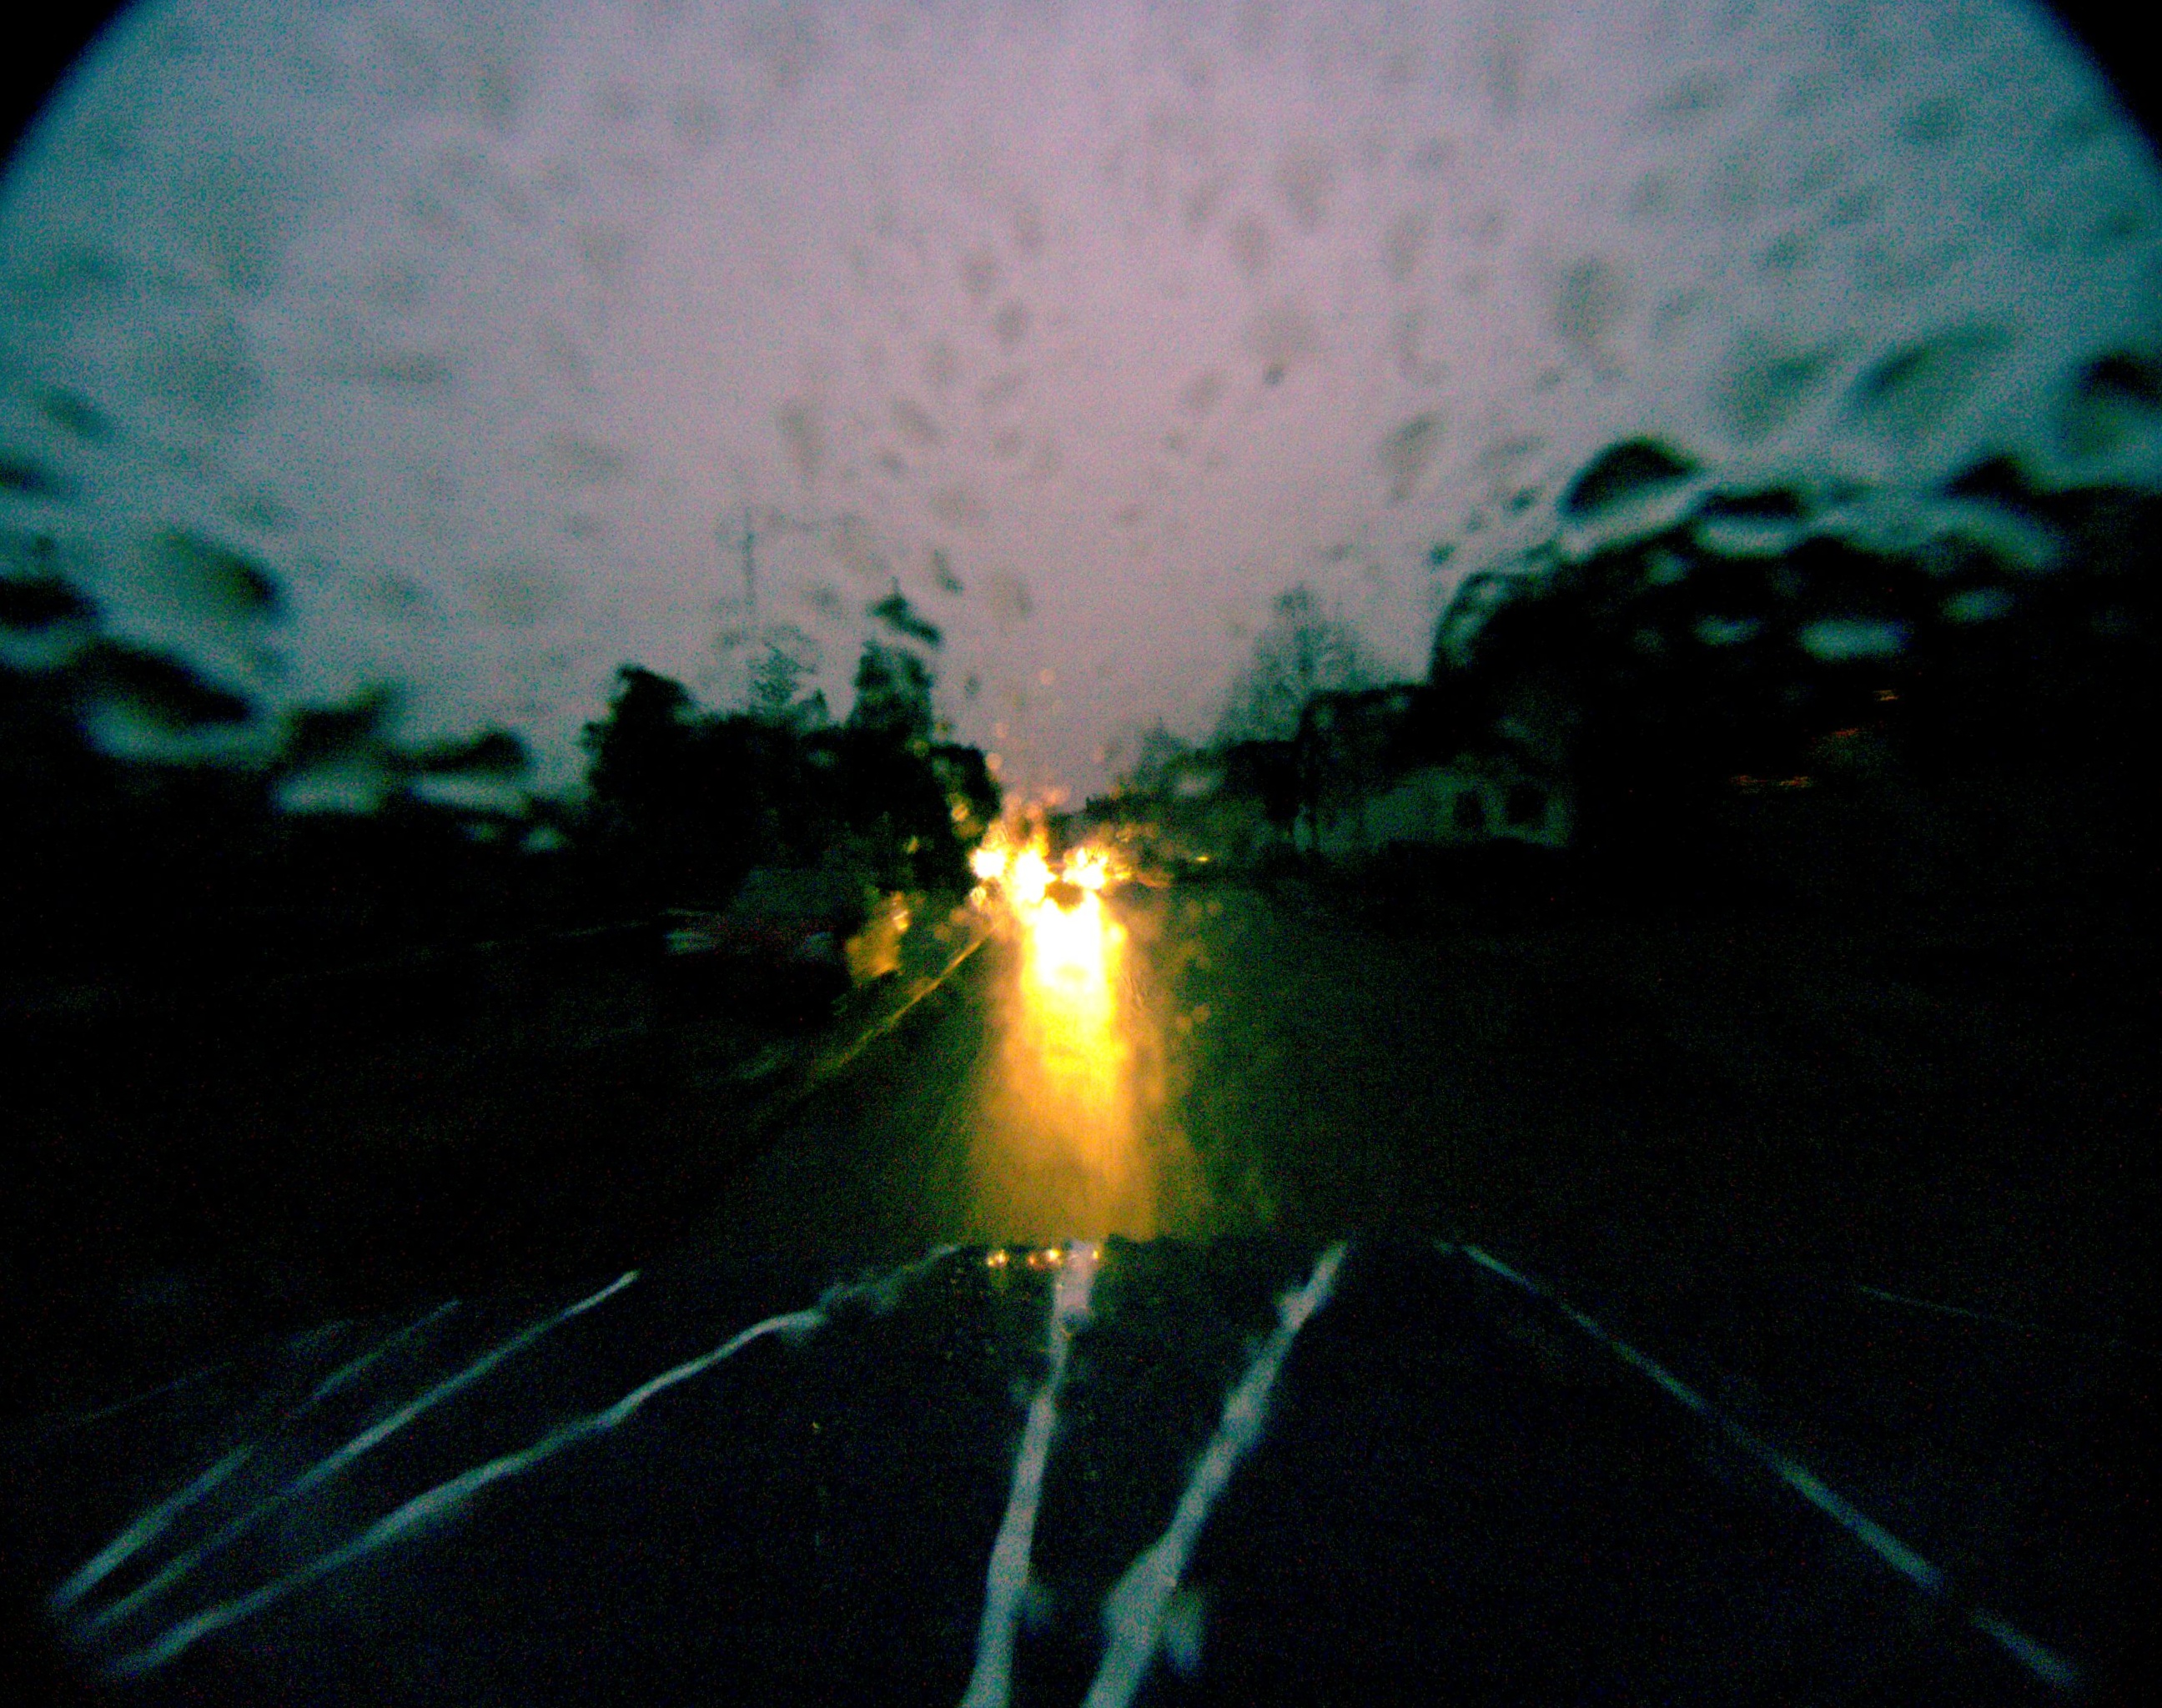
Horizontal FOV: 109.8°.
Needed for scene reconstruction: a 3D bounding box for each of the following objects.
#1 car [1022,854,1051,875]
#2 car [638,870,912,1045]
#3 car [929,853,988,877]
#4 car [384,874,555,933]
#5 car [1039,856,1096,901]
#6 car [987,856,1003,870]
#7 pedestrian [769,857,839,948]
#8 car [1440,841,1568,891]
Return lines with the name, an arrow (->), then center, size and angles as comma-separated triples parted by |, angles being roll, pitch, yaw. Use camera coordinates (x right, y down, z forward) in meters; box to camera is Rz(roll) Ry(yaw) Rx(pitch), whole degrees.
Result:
car -> -3.804, 0.886, 64.474 | 2.000, 1.660, 3.997 | -2, 0, -8
car -> -3.155, 0.991, 8.597 | 1.653, 1.530, 3.391 | 2, -2, 0
car -> -9.446, 0.850, 58.377 | 4.338, 1.722, 1.998 | 1, 0, -12
car -> -17.450, 1.358, 21.971 | 1.810, 1.367, 3.998 | -2, 1, -4
car -> -0.505, 0.875, 28.949 | 1.999, 1.575, 4.000 | -1, 0, -1
car -> -10.847, 1.168, 95.685 | 1.777, 1.608, 3.869 | -3, 1, -10
pedestrian -> -5.438, 0.920, 14.966 | 0.990, 1.732, 1.056 | 0, 1, -1
car -> 13.074, 0.322, 23.803 | 1.786, 1.358, 3.999 | -3, 1, 1
